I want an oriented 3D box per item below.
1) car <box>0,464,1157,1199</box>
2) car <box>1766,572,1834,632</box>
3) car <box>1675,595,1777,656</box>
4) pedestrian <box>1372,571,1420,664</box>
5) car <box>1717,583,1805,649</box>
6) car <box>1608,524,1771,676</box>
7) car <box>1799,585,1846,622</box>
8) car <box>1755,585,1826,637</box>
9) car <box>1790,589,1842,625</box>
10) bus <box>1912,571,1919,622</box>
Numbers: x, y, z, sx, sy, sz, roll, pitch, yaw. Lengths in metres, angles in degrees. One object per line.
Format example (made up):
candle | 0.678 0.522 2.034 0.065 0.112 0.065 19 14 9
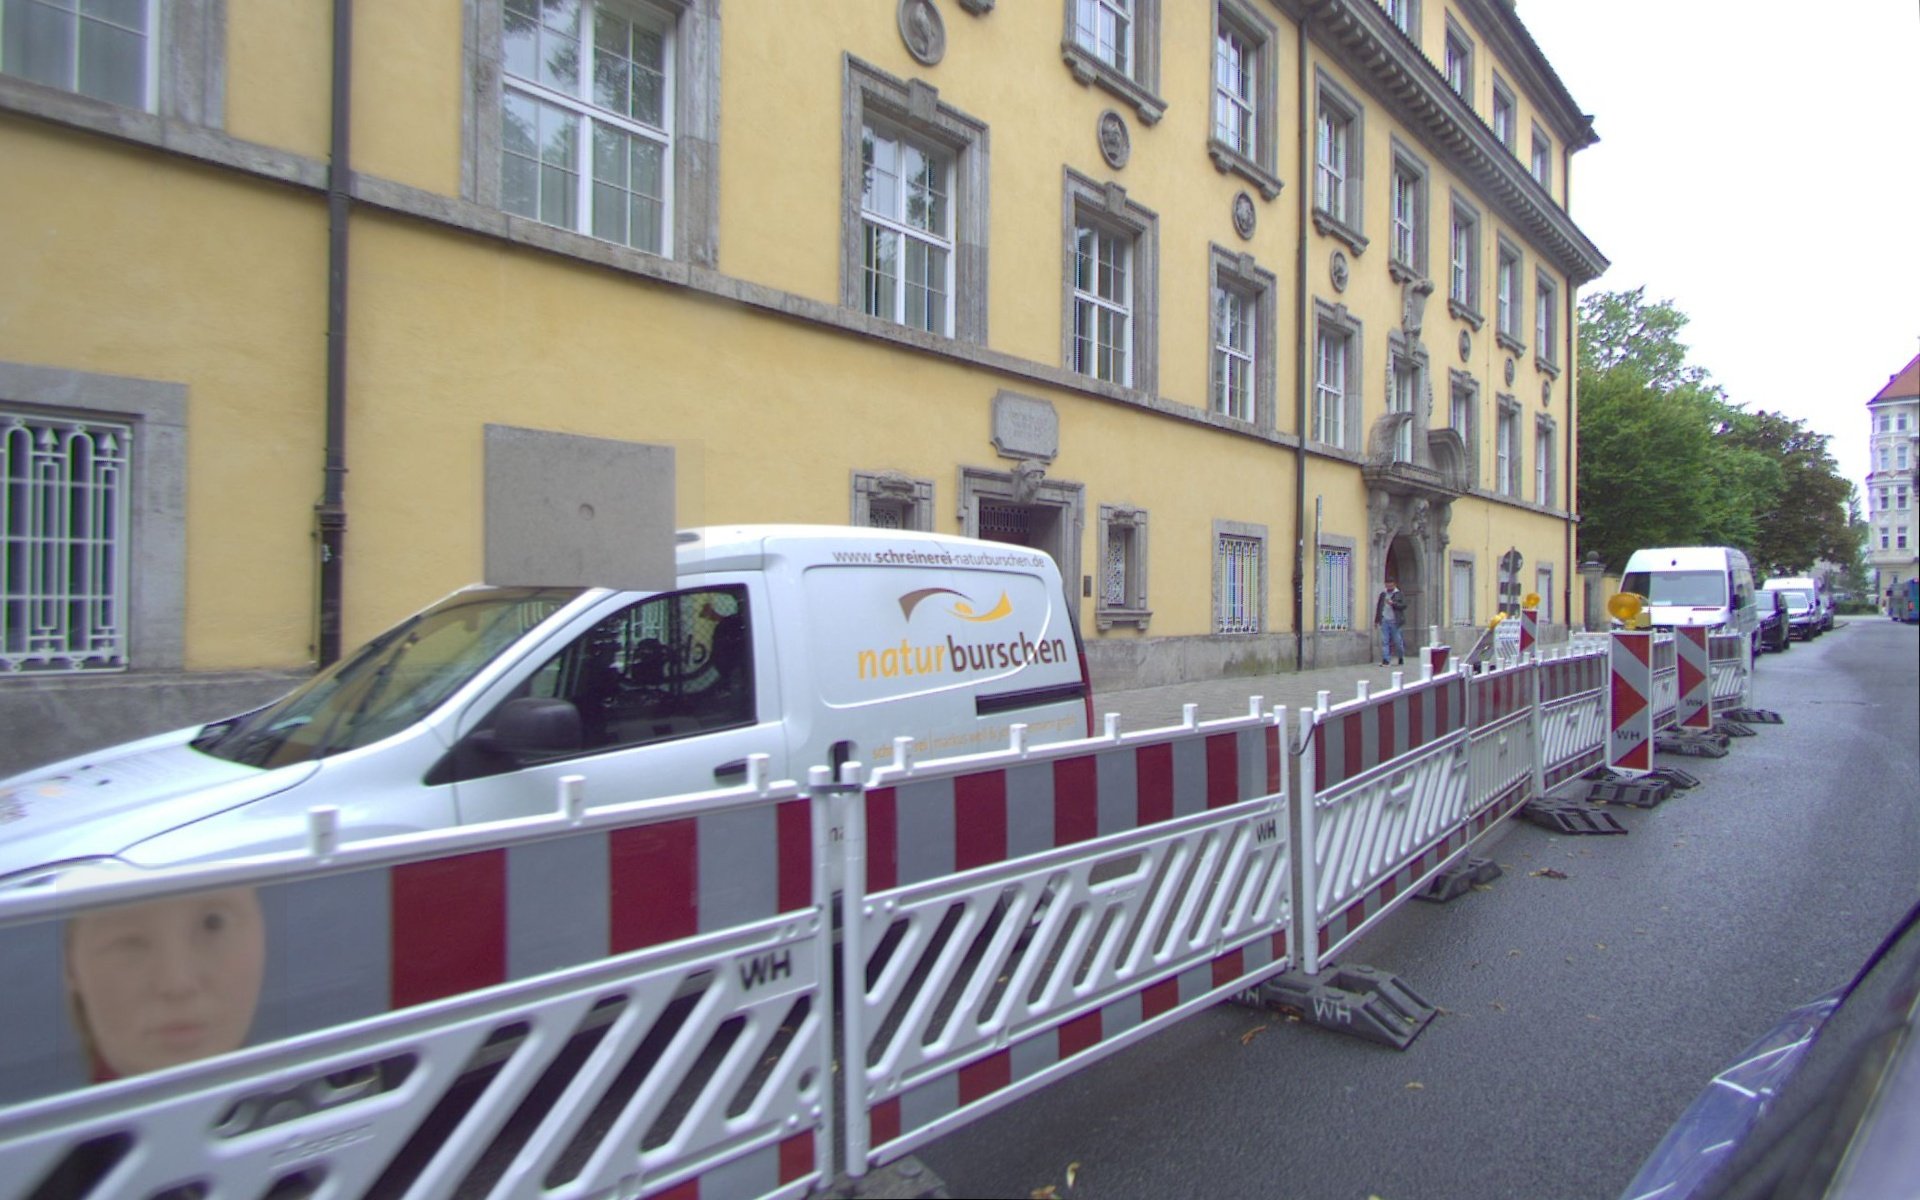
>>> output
car | -1.120 0.580 3.981 1.739 1.772 4.289 0 1 43
car | 37.416 0.018 45.033 2.094 2.518 5.653 0 1 42
car | 20.731 0.631 27.334 1.870 1.476 4.191 0 1 42
pedestrian | 8.827 0.332 20.510 0.700 1.826 0.574 2 2 44
car | 24.993 0.418 31.527 1.869 1.892 4.911 0 1 42
car | 15.659 -0.041 21.492 2.053 2.706 7.499 0 1 42
car | 48.582 0.142 56.943 1.858 1.992 5.362 0 1 42
car | 32.637 0.411 39.777 2.010 1.931 5.088 -1 -1 40
car | 44.498 0.338 52.568 1.858 1.763 4.531 -1 -1 43
bus | 68.724 -0.421 70.807 2.858 3.279 18.144 0 1 43
